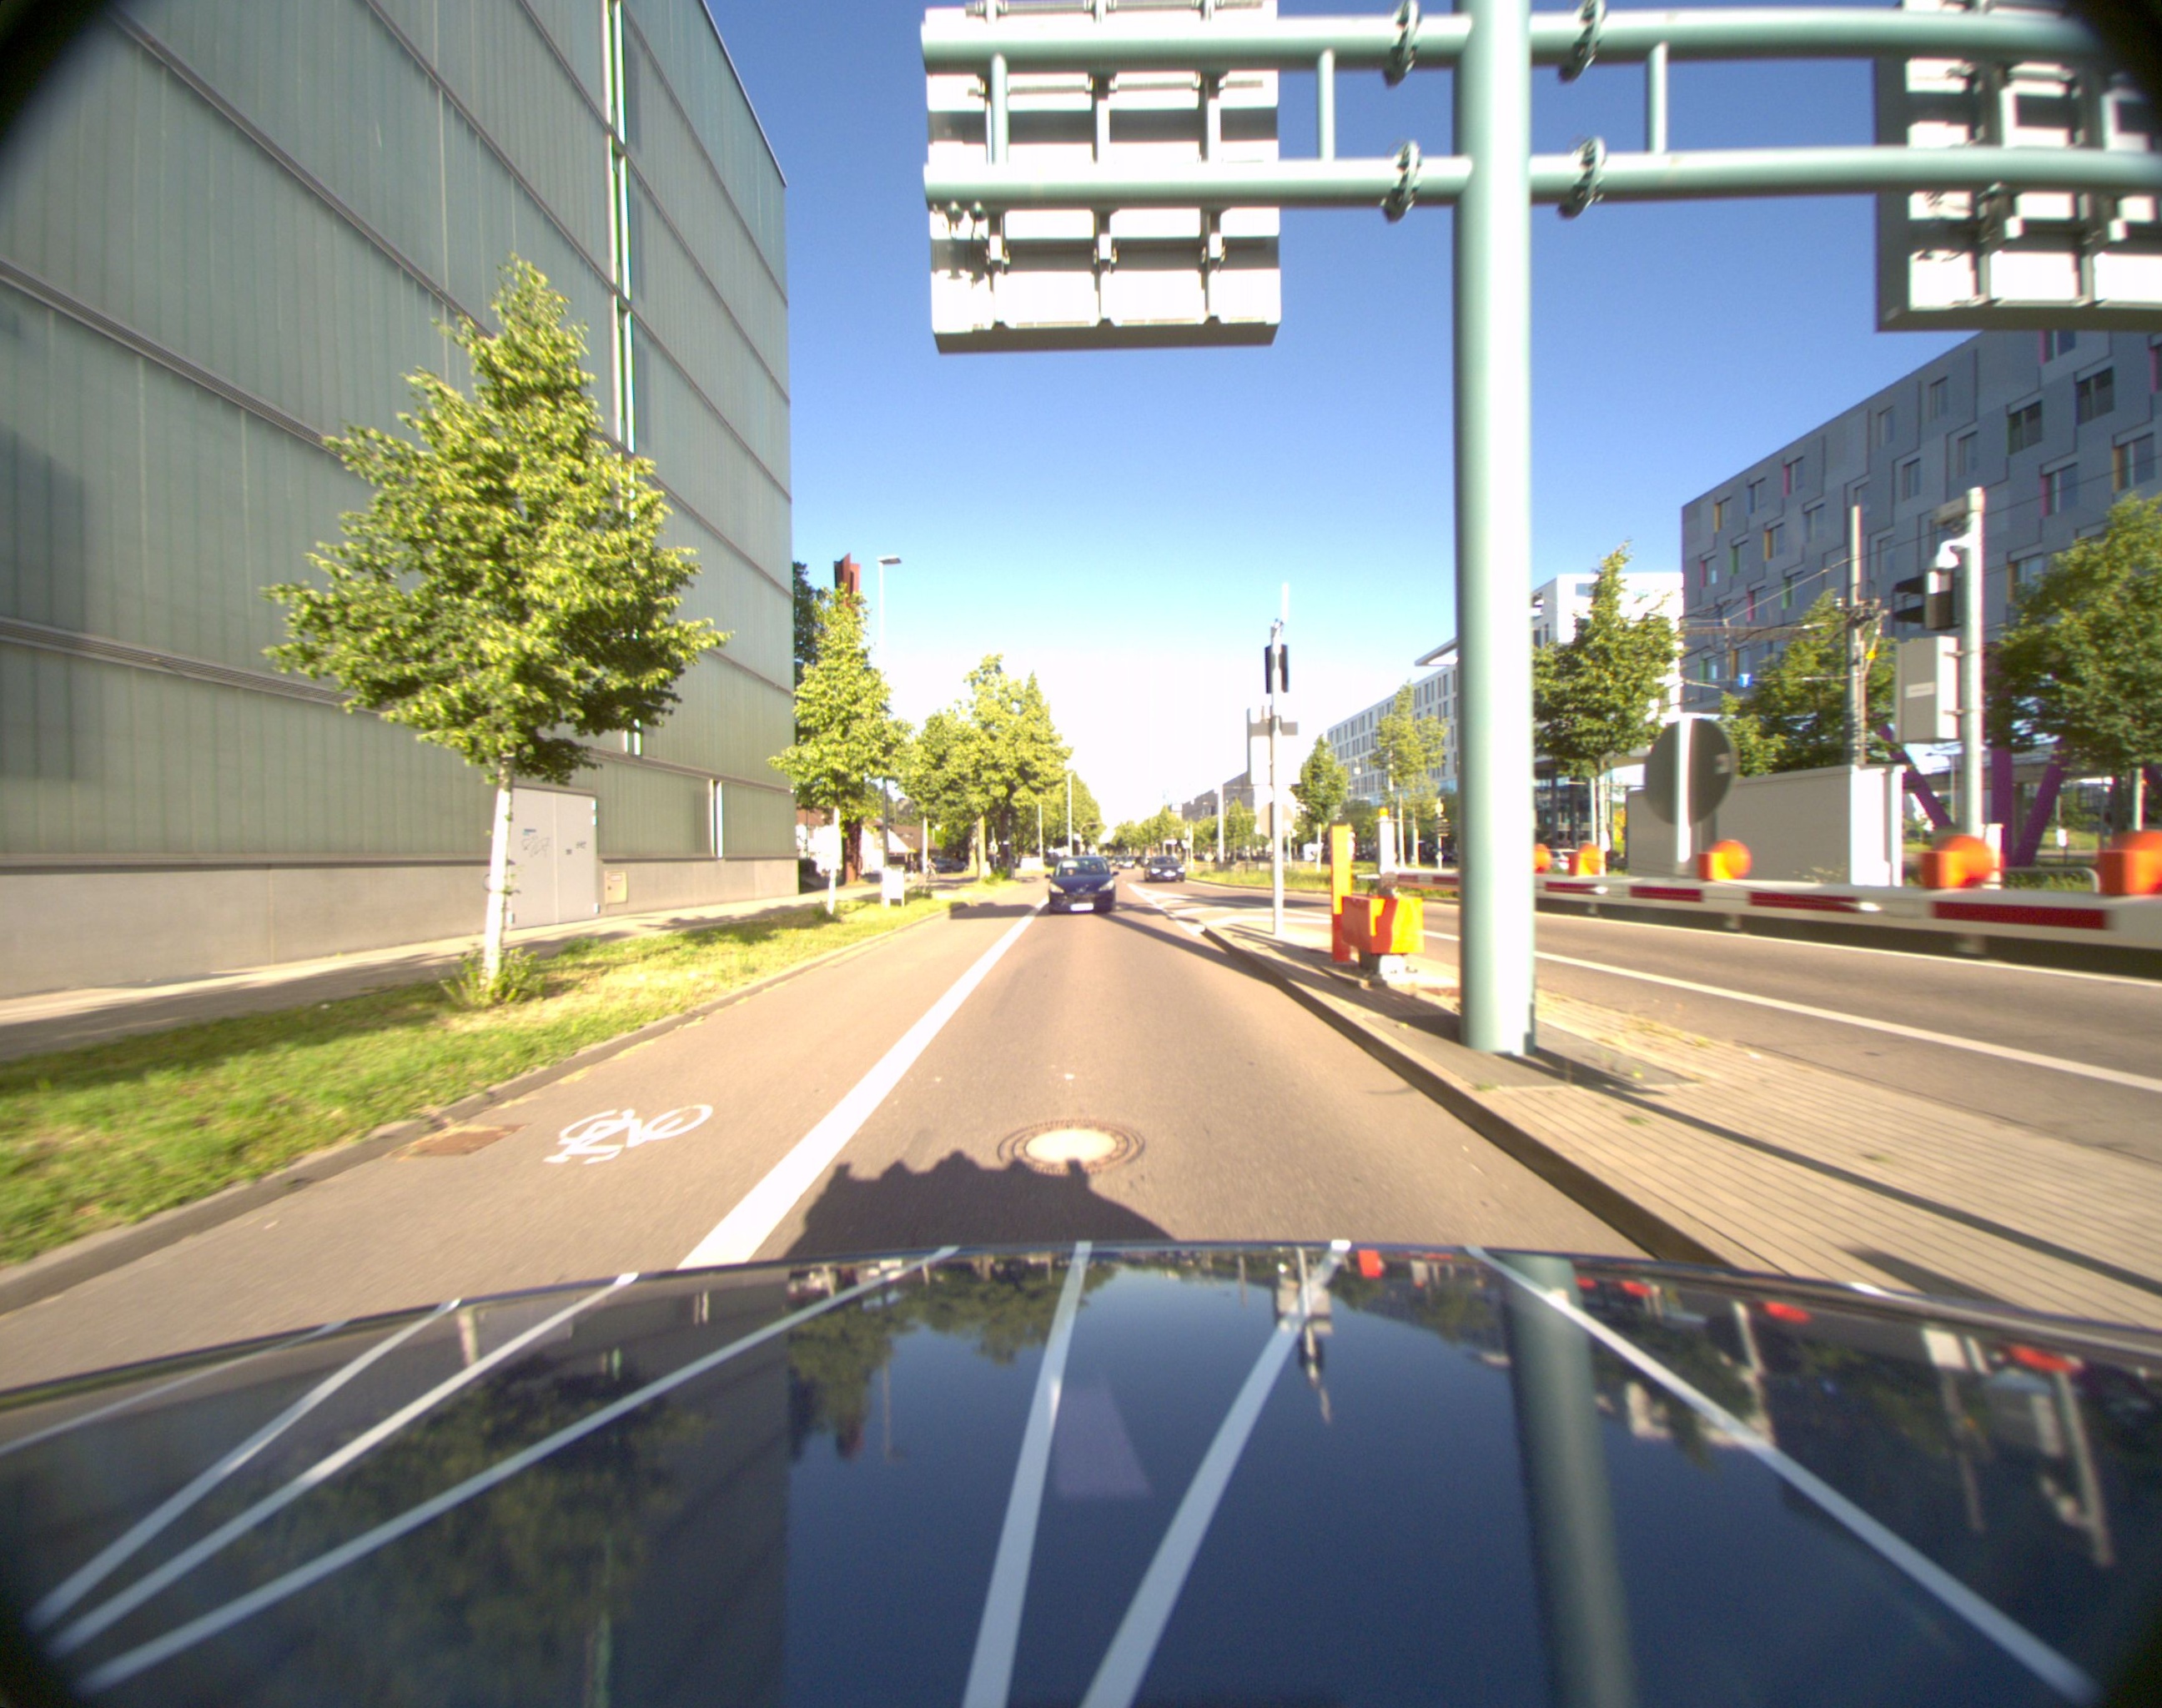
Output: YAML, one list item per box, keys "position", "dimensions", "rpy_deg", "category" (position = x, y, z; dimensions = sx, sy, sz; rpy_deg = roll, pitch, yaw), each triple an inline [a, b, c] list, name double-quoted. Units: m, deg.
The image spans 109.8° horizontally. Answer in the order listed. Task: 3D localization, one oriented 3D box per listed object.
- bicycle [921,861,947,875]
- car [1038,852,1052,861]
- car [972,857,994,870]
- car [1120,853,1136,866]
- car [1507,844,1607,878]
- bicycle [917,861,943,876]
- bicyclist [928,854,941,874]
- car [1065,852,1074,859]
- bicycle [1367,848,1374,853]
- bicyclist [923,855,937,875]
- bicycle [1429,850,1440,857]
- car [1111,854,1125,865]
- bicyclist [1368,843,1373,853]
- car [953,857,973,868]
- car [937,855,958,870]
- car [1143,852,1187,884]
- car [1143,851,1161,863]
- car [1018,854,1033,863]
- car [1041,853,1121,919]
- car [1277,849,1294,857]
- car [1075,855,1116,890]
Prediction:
- position: [-12.671, 1.227, 65.466]
  dimensions: [2.100, 1.196, 0.552]
  rpy_deg: [-1, 0, 13]
  category: "bicycle"
- position: [-7.130, 0.504, 149.950]
  dimensions: [1.997, 1.587, 4.657]
  rpy_deg: [-2, 0, 7]
  category: "car"
- position: [-12.031, 1.153, 93.458]
  dimensions: [1.898, 1.457, 4.038]
  rpy_deg: [-2, 0, 4]
  category: "car"
- position: [5.654, 0.627, 91.559]
  dimensions: [1.675, 1.418, 4.006]
  rpy_deg: [-3, 0, 2]
  category: "car"
- position: [24.096, 0.328, 38.700]
  dimensions: [1.999, 1.553, 4.871]
  rpy_deg: [-1, 0, 0]
  category: "car"
- position: [-12.805, 1.234, 64.534]
  dimensions: [2.100, 1.196, 0.552]
  rpy_deg: [-1, 0, 16]
  category: "bicycle"
- position: [-12.607, 0.867, 65.424]
  dimensions: [0.876, 1.727, 0.833]
  rpy_deg: [-1, 0, 13]
  category: "bicyclist"
- position: [-2.842, 0.339, 189.252]
  dimensions: [1.998, 1.576, 4.000]
  rpy_deg: [-2, 0, 2]
  category: "car"
- position: [42.923, -0.511, 112.632]
  dimensions: [0.482, 0.858, 1.692]
  rpy_deg: [-1, 0, 1]
  category: "bicycle"
- position: [-12.786, 0.922, 64.510]
  dimensions: [0.876, 1.644, 0.794]
  rpy_deg: [-1, 0, 13]
  category: "bicyclist"
- position: [43.568, -0.065, 93.713]
  dimensions: [0.529, 0.858, 1.834]
  rpy_deg: [-1, 0, 2]
  category: "bicycle"
- position: [5.678, 0.814, 117.175]
  dimensions: [1.839, 1.483, 4.005]
  rpy_deg: [-3, 0, 1]
  category: "car"
- position: [42.915, -0.891, 112.524]
  dimensions: [0.482, 1.414, 0.553]
  rpy_deg: [-1, 0, 1]
  category: "bicyclist"
- position: [-18.409, 1.337, 118.694]
  dimensions: [1.898, 1.477, 4.915]
  rpy_deg: [-2, 0, 6]
  category: "car"
- position: [-19.109, 1.152, 108.858]
  dimensions: [1.898, 2.025, 5.071]
  rpy_deg: [0, 0, 3]
  category: "car"
- position: [4.417, 0.699, 40.429]
  dimensions: [1.803, 1.518, 4.343]
  rpy_deg: [-3, 0, 0]
  category: "car"
- position: [8.814, 0.395, 94.569]
  dimensions: [1.676, 1.418, 4.005]
  rpy_deg: [-3, 0, -2]
  category: "car"
- position: [-9.200, 0.772, 126.802]
  dimensions: [1.942, 1.372, 3.914]
  rpy_deg: [-2, 0, 3]
  category: "car"
- position: [0.120, 0.793, 20.979]
  dimensions: [1.802, 1.518, 4.606]
  rpy_deg: [-3, 0, 4]
  category: "car"
- position: [37.831, -0.209, 140.764]
  dimensions: [1.803, 1.518, 4.343]
  rpy_deg: [-3, 0, 0]
  category: "car"
- position: [0.778, 0.882, 37.704]
  dimensions: [1.802, 1.518, 4.606]
  rpy_deg: [-3, 0, 3]
  category: "car"
